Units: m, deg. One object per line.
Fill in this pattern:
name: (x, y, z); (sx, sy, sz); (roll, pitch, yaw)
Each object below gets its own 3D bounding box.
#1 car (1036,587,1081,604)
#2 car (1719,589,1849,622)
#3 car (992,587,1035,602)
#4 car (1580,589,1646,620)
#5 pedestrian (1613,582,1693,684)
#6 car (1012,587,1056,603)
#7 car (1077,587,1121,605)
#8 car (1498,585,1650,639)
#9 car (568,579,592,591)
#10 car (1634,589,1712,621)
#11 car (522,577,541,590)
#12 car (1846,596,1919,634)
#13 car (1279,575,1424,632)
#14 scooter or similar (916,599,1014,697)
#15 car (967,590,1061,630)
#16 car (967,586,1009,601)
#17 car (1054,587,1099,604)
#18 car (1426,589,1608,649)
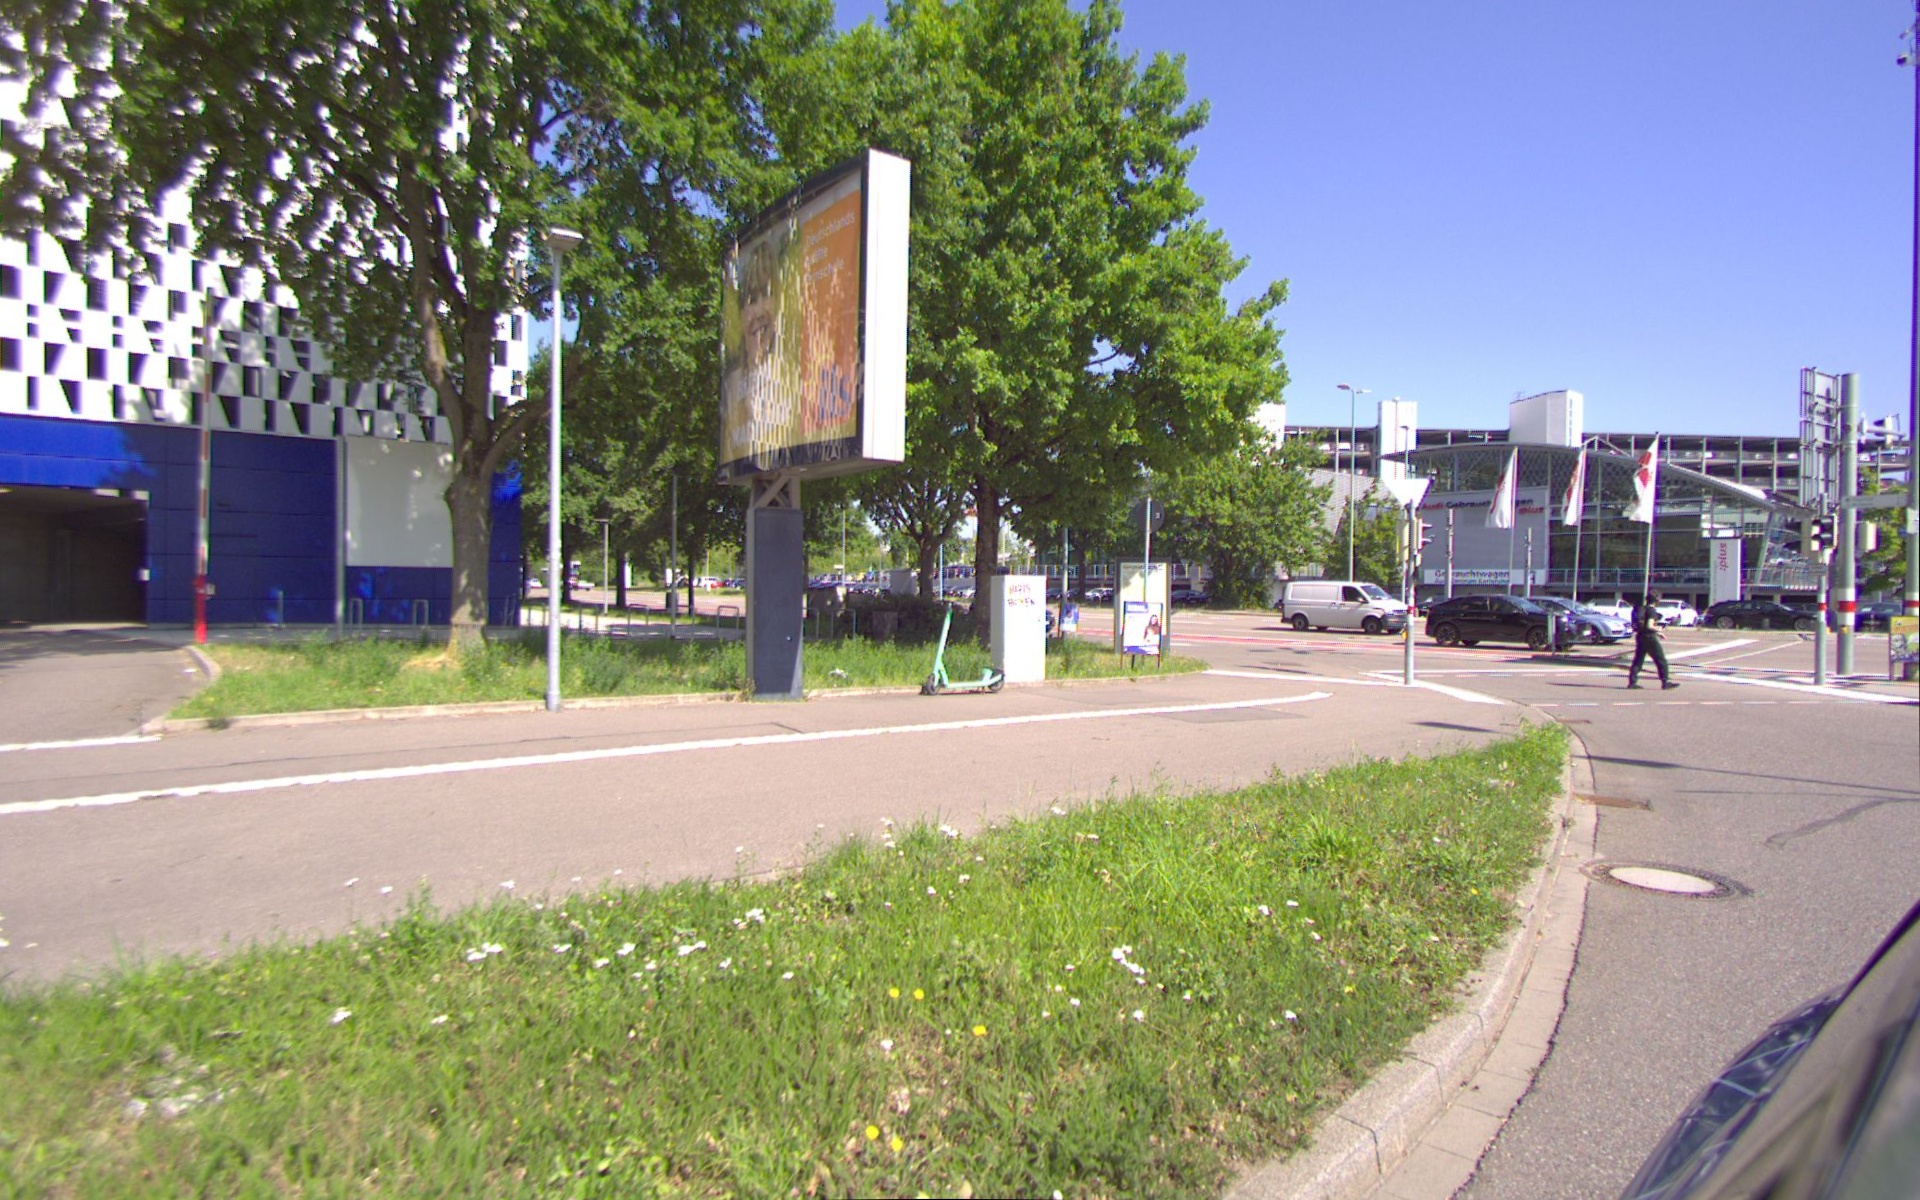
car: (8.065, -0.373, 82.599); (3.350, 1.265, 1.597); (1, 1, -32)
car: (37.700, 0.227, 46.386); (1.789, 1.367, 4.347); (1, 1, -39)
car: (4.623, -0.462, 87.411); (3.351, 1.265, 1.596); (1, 1, -34)
car: (33.030, 0.203, 51.165); (3.820, 1.489, 1.784); (0, 1, -41)
pedestrian: (12.562, 0.591, 18.351); (0.939, 1.802, 0.708); (1, 1, -13)
car: (6.217, -0.440, 84.716); (3.351, 1.265, 1.596); (1, 1, -34)
car: (10.929, -0.328, 79.302); (3.110, 1.341, 1.642); (1, 1, -34)
car: (19.796, 0.336, 32.772); (1.725, 1.633, 3.834); (-1, 1, -32)
car: (-53.011, -2.137, 141.101); (2.127, 1.696, 4.515); (-1, 1, -33)
car: (34.669, 0.229, 49.173); (4.039, 1.440, 2.004); (0, 1, -38)
car: (-67.622, -2.625, 159.848); (1.962, 2.039, 4.000); (-1, 1, -35)
car: (39.566, 0.621, 42.920); (3.922, 1.479, 2.001); (1, 0, -33)
car: (14.861, 0.065, 38.672); (1.710, 2.032, 4.995); (-1, 2, -39)
scooter or similar: (0.062, 0.588, 12.762); (1.159, 1.181, 0.403); (-1, 1, -21)
car: (2.200, 0.379, 42.333); (1.737, 1.482, 4.242); (0, 2, -33)
car: (2.464, -0.599, 89.158); (3.351, 1.265, 1.596); (1, 1, -34)
car: (9.325, -0.374, 80.904); (3.351, 1.265, 1.596); (1, 1, -34)
car: (16.679, 0.523, 30.502); (1.685, 1.648, 4.498); (-1, 1, -39)
